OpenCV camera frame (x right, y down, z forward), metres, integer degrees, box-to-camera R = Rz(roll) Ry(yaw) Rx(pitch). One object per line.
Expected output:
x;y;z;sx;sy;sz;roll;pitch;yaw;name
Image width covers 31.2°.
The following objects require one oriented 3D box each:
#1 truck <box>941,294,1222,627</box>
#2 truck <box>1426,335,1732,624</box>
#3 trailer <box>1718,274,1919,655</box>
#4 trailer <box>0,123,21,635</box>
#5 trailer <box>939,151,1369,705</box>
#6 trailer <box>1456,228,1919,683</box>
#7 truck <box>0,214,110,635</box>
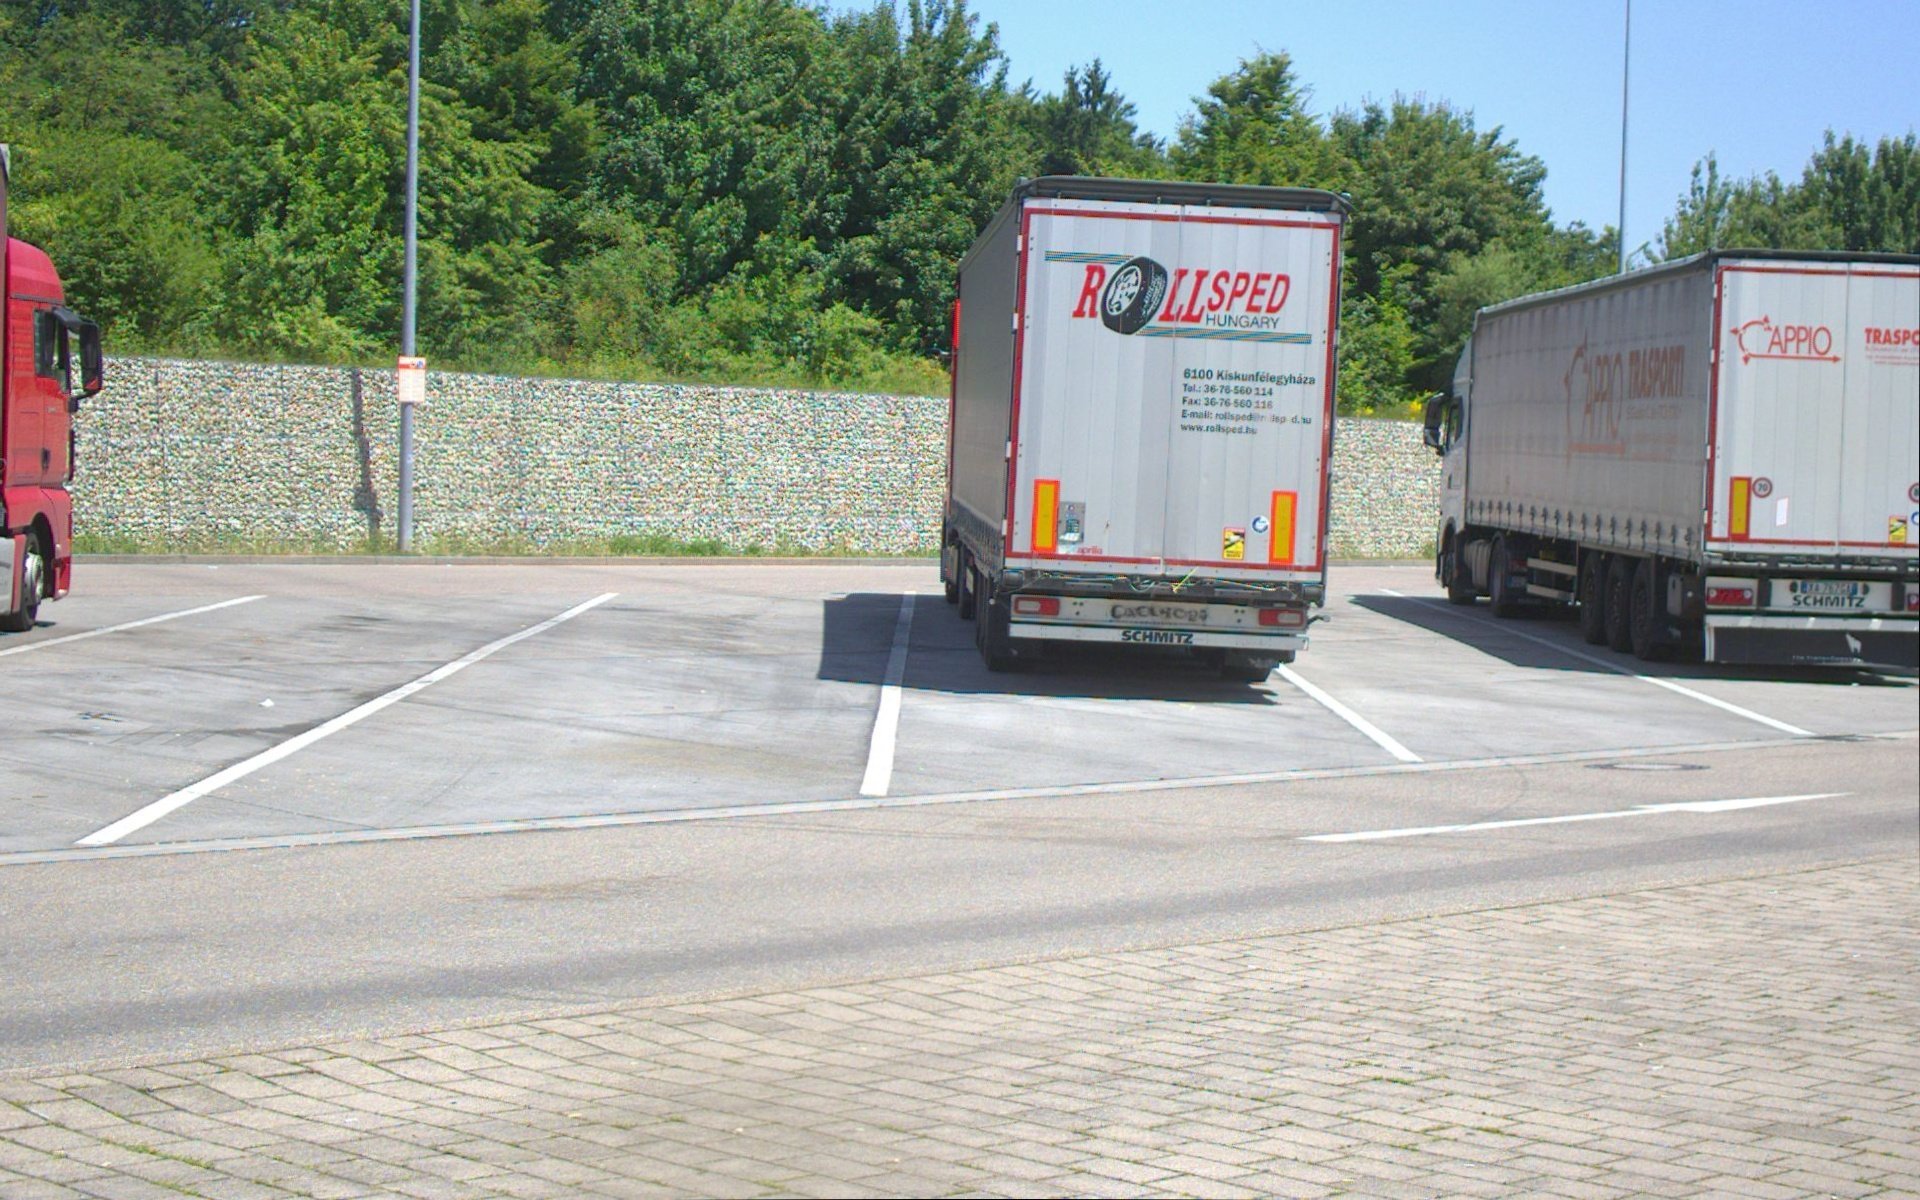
1.293;-1.627;39.797;2.852;3.472;5.483;2;2;-1;truck
8.066;-1.621;45.487;2.852;3.472;5.483;2;2;-1;truck
11.796;-1.524;39.427;2.838;4.118;13.724;2;3;-1;trailer
-9.144;-1.490;21.288;2.906;4.118;13.725;2;3;-1;trailer
1.442;-1.620;33.184;2.906;4.118;13.725;2;3;-1;trailer
8.159;-1.623;38.674;2.838;4.118;13.724;2;3;-1;trailer
-9.234;-1.507;28.727;2.852;3.416;5.483;2;2;-1;truck
